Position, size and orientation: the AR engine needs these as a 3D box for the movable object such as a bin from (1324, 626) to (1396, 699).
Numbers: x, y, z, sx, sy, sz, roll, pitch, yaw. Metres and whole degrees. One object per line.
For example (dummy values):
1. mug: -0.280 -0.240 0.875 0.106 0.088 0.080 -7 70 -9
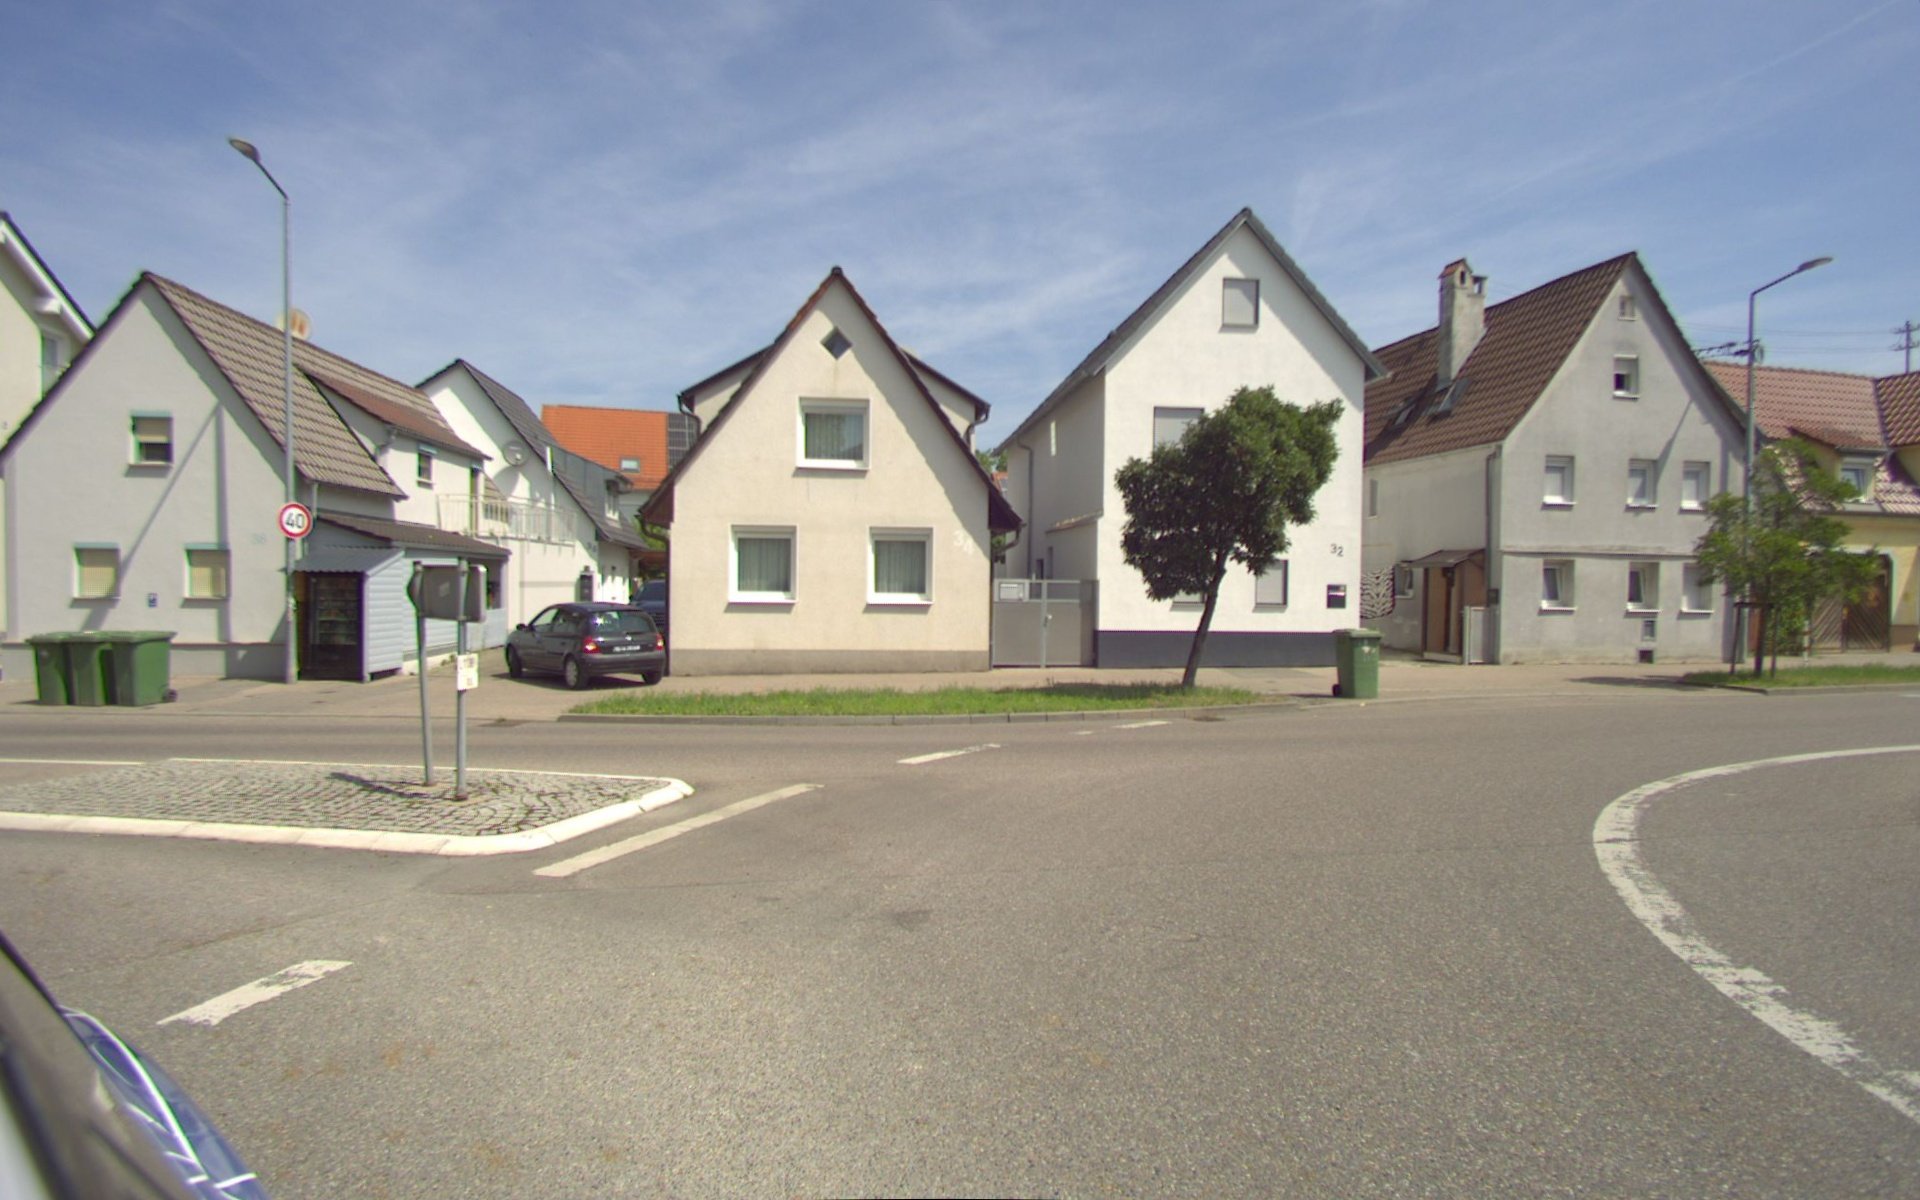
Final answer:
1. movable object such as a bin: 6.112 0.943 15.506 0.569 1.056 0.906 0 -1 -17

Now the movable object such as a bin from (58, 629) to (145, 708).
1. movable object such as a bin: -12.647 0.997 14.928 0.624 1.085 0.732 -1 2 3

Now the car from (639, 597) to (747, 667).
1. car: -6.756 0.776 25.996 1.970 1.657 3.874 0 0 -4

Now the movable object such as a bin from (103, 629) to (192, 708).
1. movable object such as a bin: -11.940 0.992 14.888 0.716 1.085 0.682 -1 2 3

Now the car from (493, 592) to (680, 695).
1. car: -6.734 0.676 18.063 1.752 1.452 3.851 -2 4 -44

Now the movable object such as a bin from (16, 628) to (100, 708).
1. movable object such as a bin: -13.311 0.992 14.952 0.624 1.101 0.643 -1 2 3
